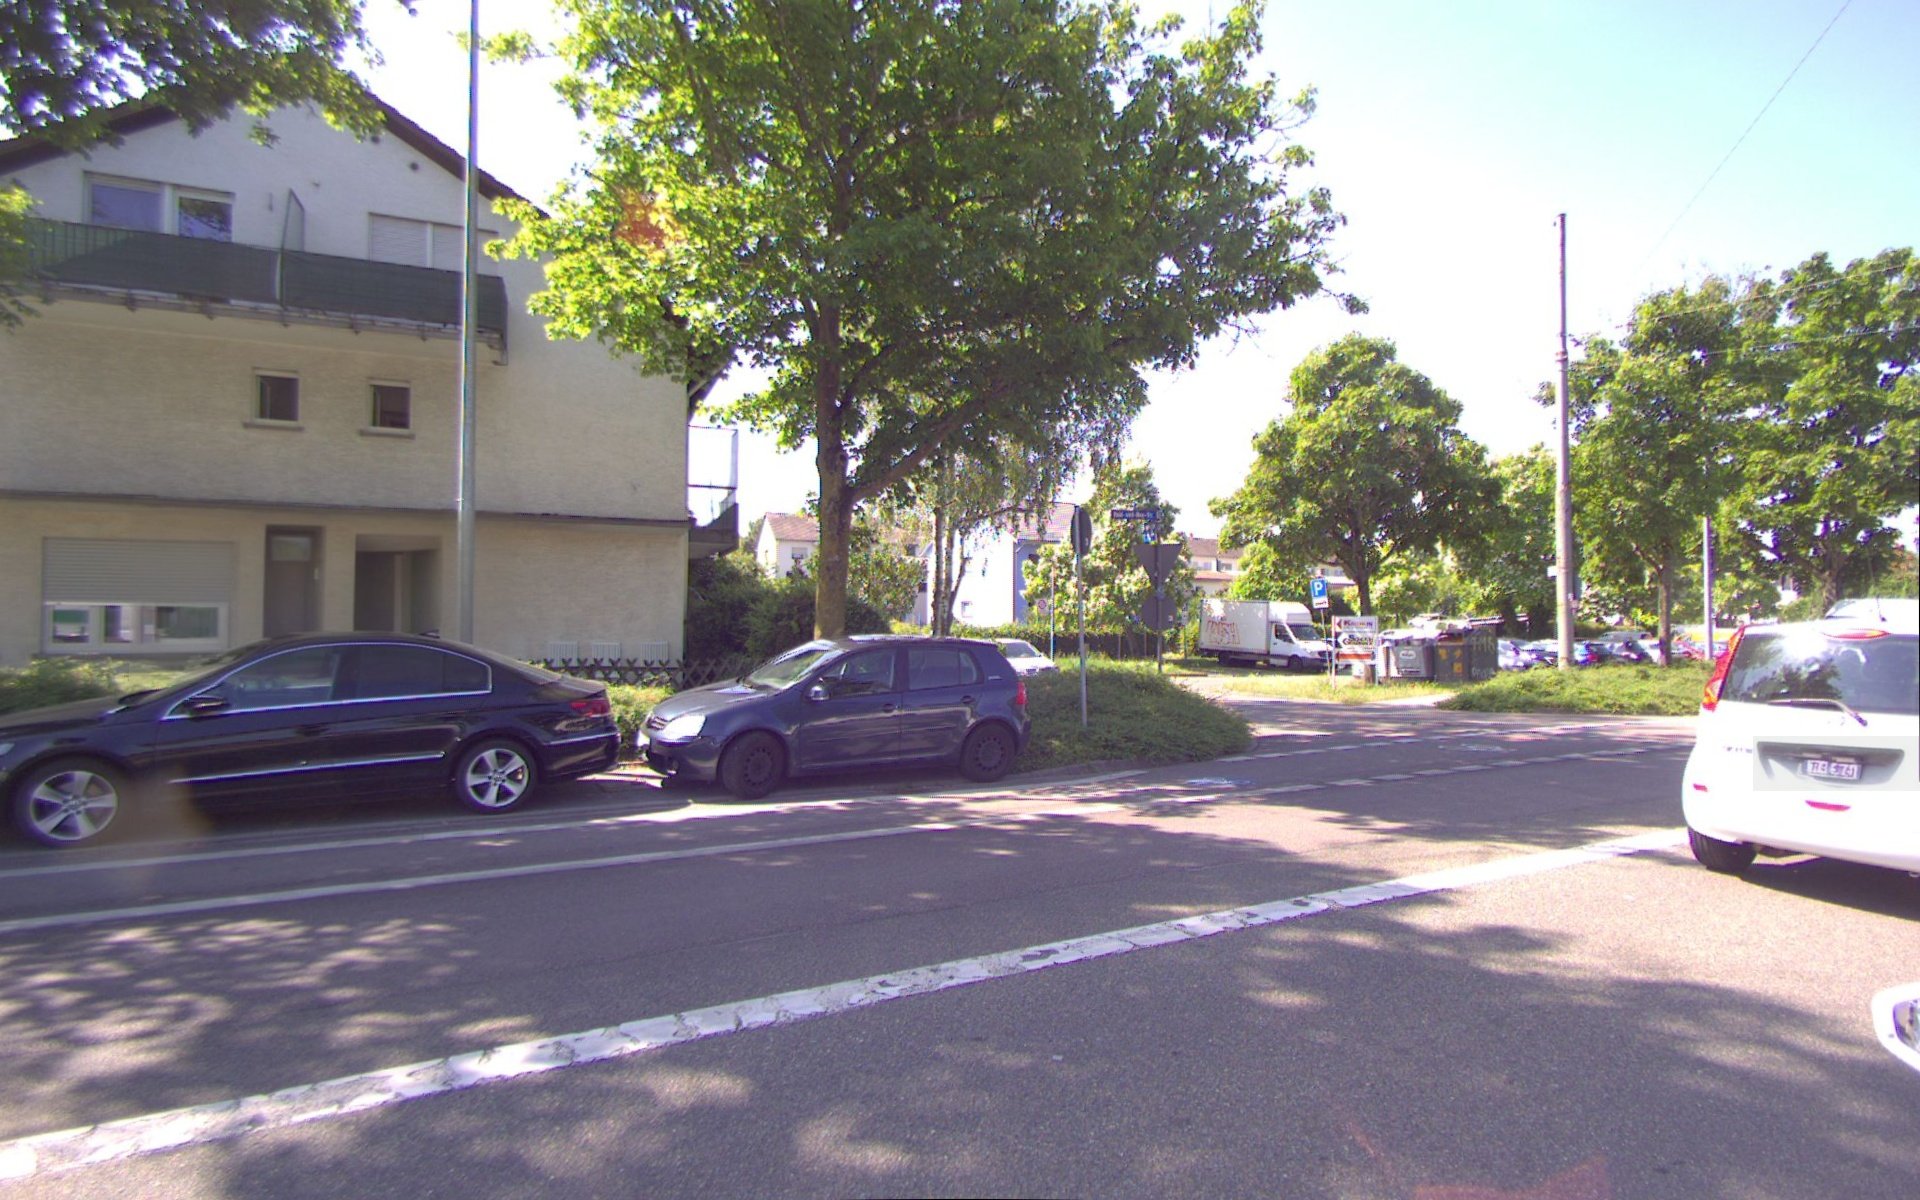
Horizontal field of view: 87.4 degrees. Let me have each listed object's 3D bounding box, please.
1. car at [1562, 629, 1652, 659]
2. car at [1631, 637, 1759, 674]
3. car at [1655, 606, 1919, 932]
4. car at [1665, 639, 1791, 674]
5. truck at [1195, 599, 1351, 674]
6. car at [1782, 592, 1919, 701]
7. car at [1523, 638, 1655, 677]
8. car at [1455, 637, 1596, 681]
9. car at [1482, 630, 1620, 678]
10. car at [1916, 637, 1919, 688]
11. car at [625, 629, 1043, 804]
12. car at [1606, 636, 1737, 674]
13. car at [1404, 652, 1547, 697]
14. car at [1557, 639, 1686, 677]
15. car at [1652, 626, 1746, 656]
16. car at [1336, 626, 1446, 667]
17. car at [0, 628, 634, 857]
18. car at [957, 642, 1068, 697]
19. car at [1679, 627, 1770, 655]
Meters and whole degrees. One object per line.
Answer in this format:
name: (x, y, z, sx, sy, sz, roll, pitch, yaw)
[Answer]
car: (44.566, 2.986, 69.280, 2.043, 1.811, 4.762, 2, 0, -34)
car: (30.726, 2.330, 42.088, 1.712, 1.434, 3.964, 2, -4, -33)
car: (6.418, 0.859, 6.255, 4.491, 1.568, 1.655, 1, -1, -29)
car: (33.147, 2.443, 43.458, 1.712, 1.434, 3.964, 2, -4, -33)
truck: (14.411, 1.612, 46.848, 2.646, 3.151, 6.967, 1, 0, -30)
car: (23.780, 1.138, 25.779, 5.745, 2.550, 2.114, 1, 0, -29)
car: (24.156, 2.209, 38.718, 1.712, 1.434, 3.964, 2, -4, -33)
car: (19.681, 2.072, 35.126, 1.712, 1.434, 3.964, 2, -4, -33)
car: (21.400, 1.968, 36.511, 1.712, 1.631, 3.964, 2, -4, -33)
car: (29.419, 1.817, 28.778, 4.230, 1.434, 1.854, 1, 0, -31)
car: (-1.283, 1.084, 10.480, 3.988, 1.462, 1.718, 1, 0, -28)
car: (28.815, 2.240, 40.787, 1.712, 1.434, 3.964, 2, -4, -33)
car: (17.309, 2.486, 33.902, 1.712, 1.434, 3.964, 2, -4, -33)
car: (26.336, 2.325, 40.100, 1.712, 1.434, 3.964, 2, -4, -33)
car: (50.516, 2.769, 68.717, 2.043, 1.811, 4.762, 2, 0, -34)
car: (21.659, 2.321, 50.701, 2.043, 1.811, 4.762, 2, 0, -34)
car: (-5.265, 1.002, 8.351, 4.568, 1.434, 1.854, 1, 0, -31)
car: (1.397, 1.938, 28.441, 1.704, 1.434, 3.983, 1, -3, -20)
car: (54.405, 2.900, 71.552, 2.043, 1.811, 4.762, 2, 0, -34)
